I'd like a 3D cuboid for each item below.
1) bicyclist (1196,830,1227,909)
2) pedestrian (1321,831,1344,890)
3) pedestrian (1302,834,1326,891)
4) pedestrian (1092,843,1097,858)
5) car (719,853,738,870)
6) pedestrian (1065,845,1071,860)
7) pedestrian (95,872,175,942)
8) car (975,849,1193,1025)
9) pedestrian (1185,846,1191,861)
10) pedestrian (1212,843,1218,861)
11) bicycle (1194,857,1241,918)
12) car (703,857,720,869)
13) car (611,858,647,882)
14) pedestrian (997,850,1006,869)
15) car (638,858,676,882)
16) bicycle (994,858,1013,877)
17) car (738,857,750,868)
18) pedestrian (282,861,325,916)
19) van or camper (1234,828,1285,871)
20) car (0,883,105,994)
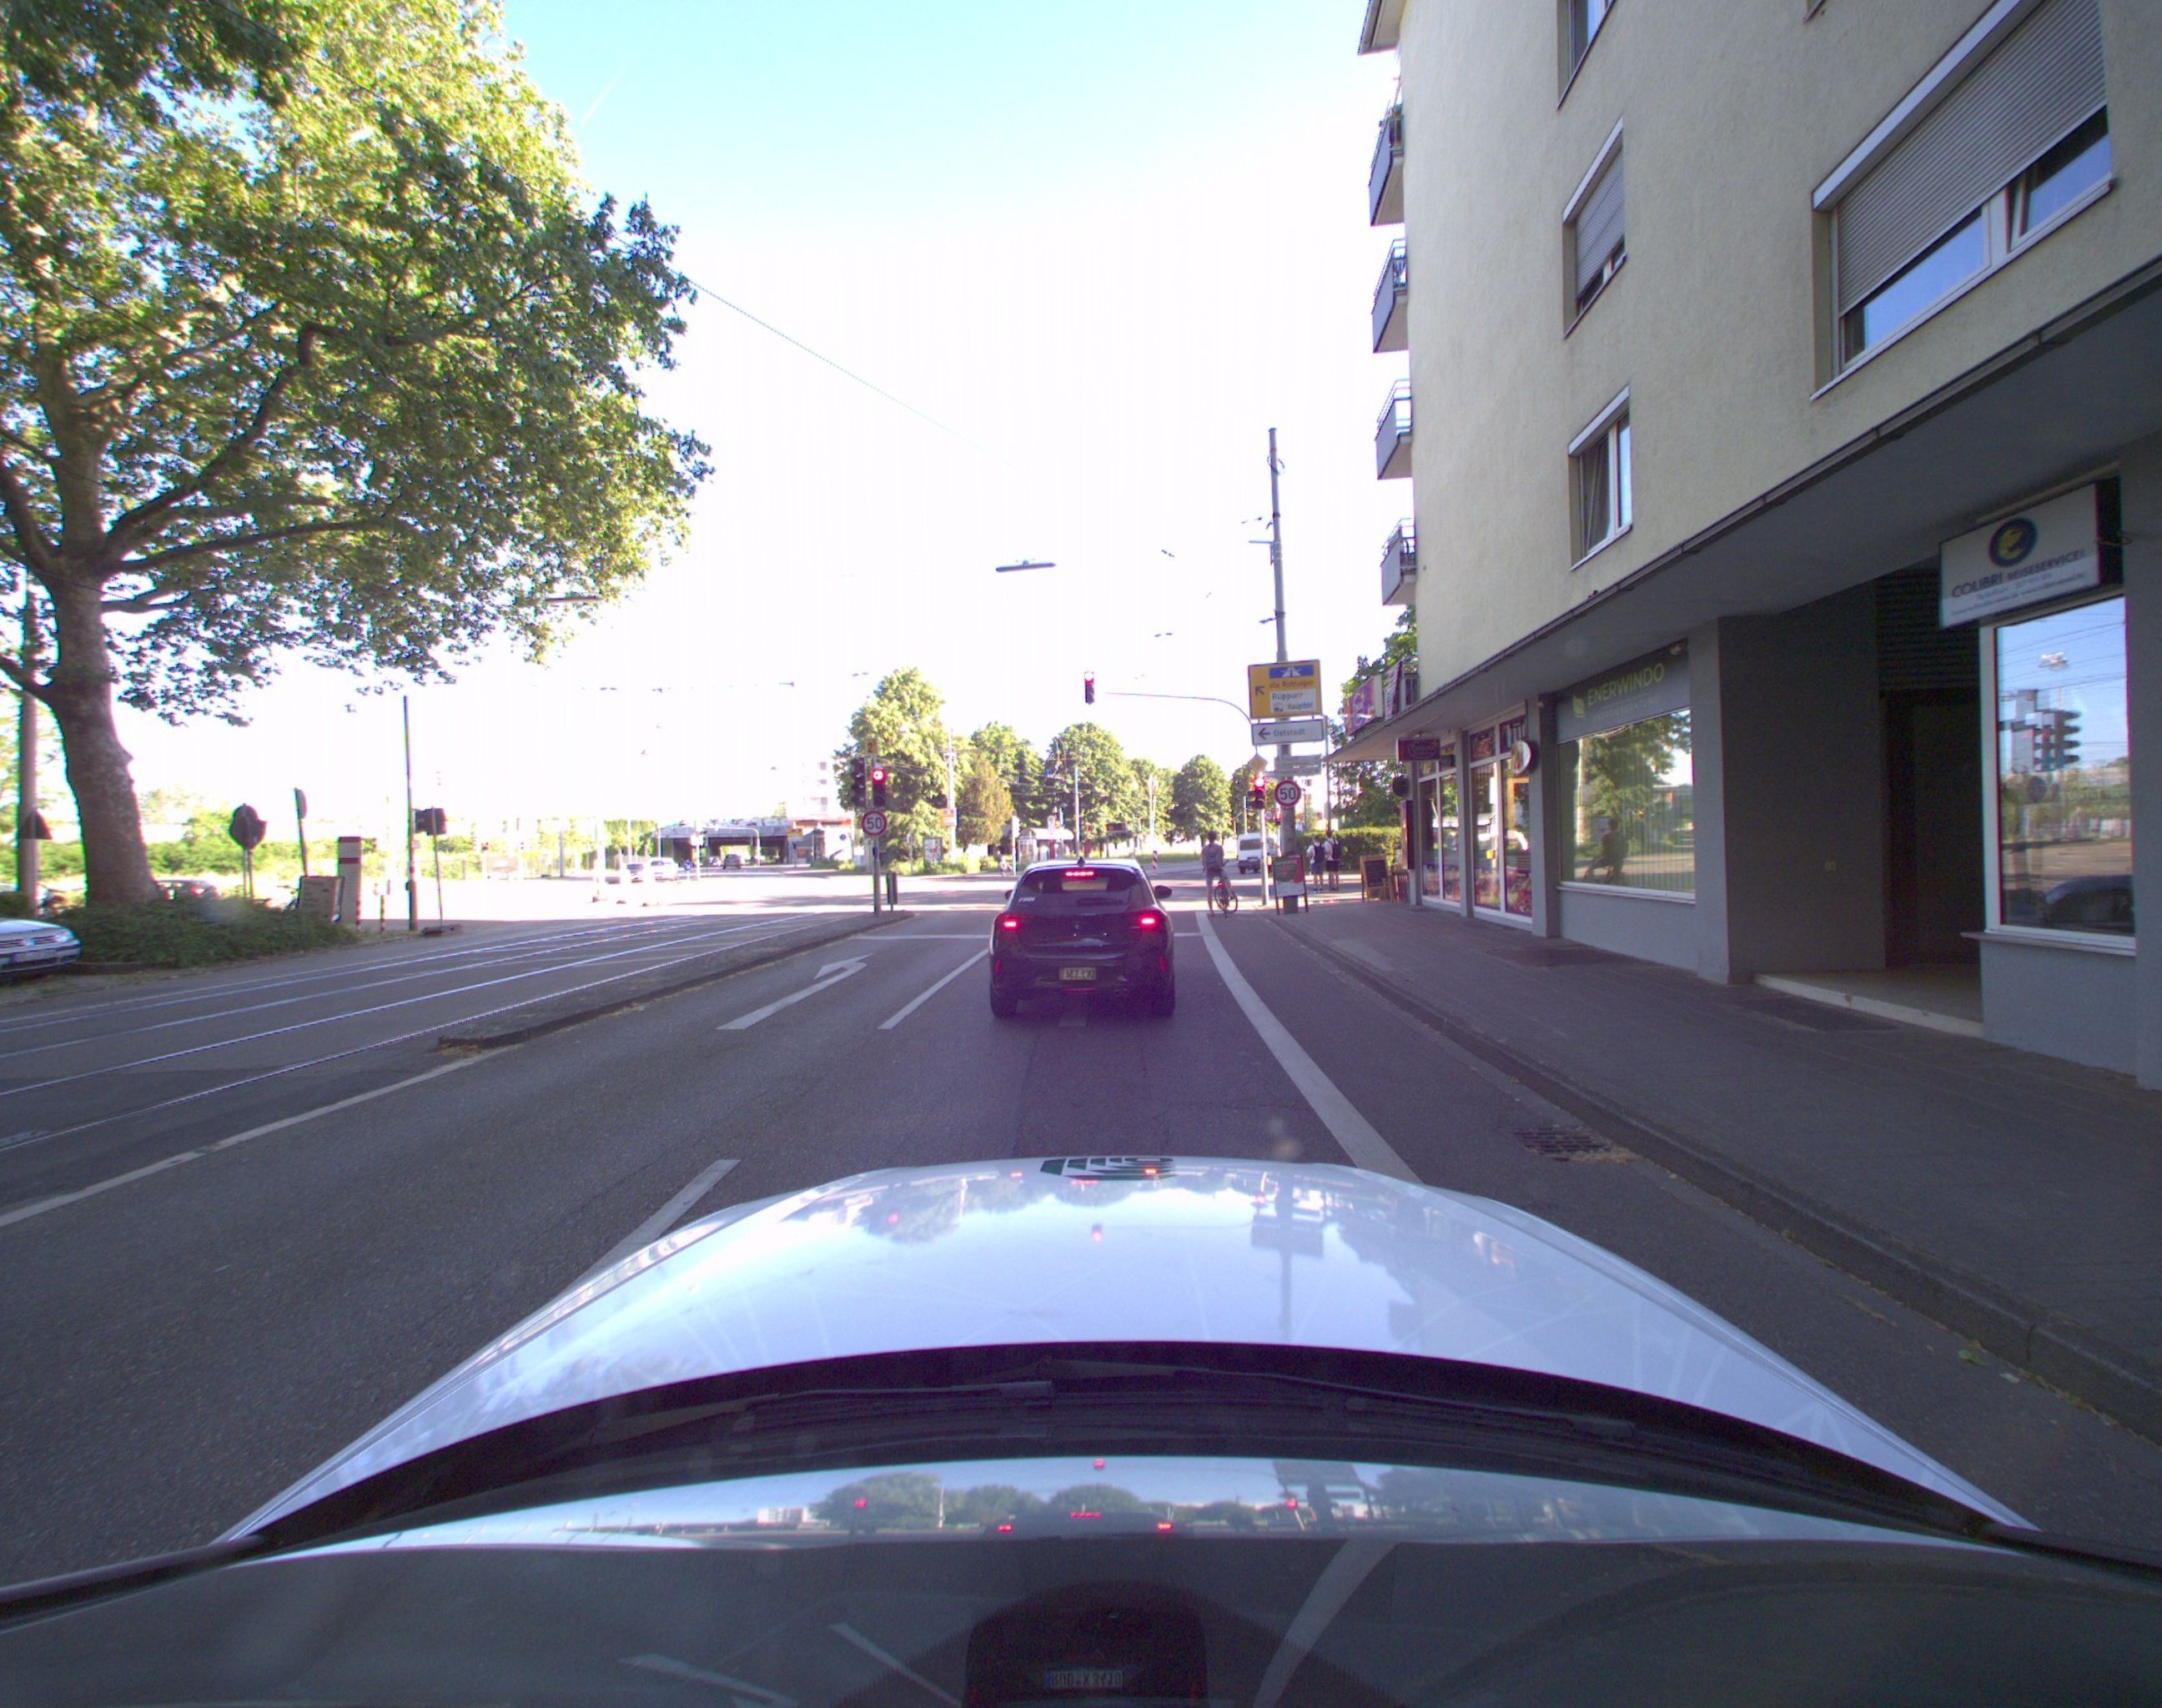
[{"bbox_3d":[2.872,0.334,17.843,0.529,1.692,0.571,-2,0,19],"label":"bicyclist"},{"bbox_3d":[7.860,0.197,25.432,0.627,1.820,0.749,-1,-1,22],"label":"pedestrian"},{"bbox_3d":[7.301,0.274,25.512,0.627,1.763,0.585,-1,-1,22],"label":"pedestrian"},{"bbox_3d":[1.645,-0.412,99.865,0.616,1.872,0.521,-1,-1,9],"label":"pedestrian"},{"bbox_3d":[-41.930,0.907,97.008,1.916,1.881,4.809,-2,0,-22],"label":"car"},{"bbox_3d":[-1.688,-0.222,105.920,0.736,1.872,0.661,0,-1,-4],"label":"pedestrian"},{"bbox_3d":[-23.047,1.272,19.862,0.842,1.647,0.931,0,-1,1],"label":"pedestrian"},{"bbox_3d":[0.090,0.702,8.939,1.833,1.462,3.985,-1,0,2],"label":"car"},{"bbox_3d":[13.039,-0.087,99.158,0.600,1.872,0.521,-1,-1,9],"label":"pedestrian"},{"bbox_3d":[14.454,-0.189,87.743,0.601,1.872,0.520,0,-1,5],"label":"pedestrian"},{"bbox_3d":[3.035,0.714,18.009,0.747,1.235,2.024,-2,0,16],"label":"bicycle"},{"bbox_3d":[-51.162,1.224,112.895,1.892,1.585,3.809,0,-1,-21],"label":"car"},{"bbox_3d":[-34.109,1.179,61.560,1.805,1.662,4.325,-2,0,-22],"label":"car"},{"bbox_3d":[-6.284,0.448,64.386,0.567,1.472,0.667,-2,0,7],"label":"pedestrian"},{"bbox_3d":[-29.245,1.064,56.273,1.892,1.585,3.809,0,-1,-21],"label":"car"},{"bbox_3d":[-4.400,0.761,46.599,0.793,1.064,2.186,-2,0,2],"label":"bicycle"},{"bbox_3d":[-54.305,1.393,131.203,1.761,1.684,3.713,0,-1,-22],"label":"car"},{"bbox_3d":[-24.184,1.049,25.348,0.777,1.661,0.946,0,-1,-31],"label":"pedestrian"},{"bbox_3d":[10.184,-0.223,46.211,2.011,2.310,4.565,-1,-1,23],"label":"van or camper"},{"bbox_3d":[-16.632,1.194,11.351,3.957,1.453,1.670,-1,0,-1],"label":"car"}]
